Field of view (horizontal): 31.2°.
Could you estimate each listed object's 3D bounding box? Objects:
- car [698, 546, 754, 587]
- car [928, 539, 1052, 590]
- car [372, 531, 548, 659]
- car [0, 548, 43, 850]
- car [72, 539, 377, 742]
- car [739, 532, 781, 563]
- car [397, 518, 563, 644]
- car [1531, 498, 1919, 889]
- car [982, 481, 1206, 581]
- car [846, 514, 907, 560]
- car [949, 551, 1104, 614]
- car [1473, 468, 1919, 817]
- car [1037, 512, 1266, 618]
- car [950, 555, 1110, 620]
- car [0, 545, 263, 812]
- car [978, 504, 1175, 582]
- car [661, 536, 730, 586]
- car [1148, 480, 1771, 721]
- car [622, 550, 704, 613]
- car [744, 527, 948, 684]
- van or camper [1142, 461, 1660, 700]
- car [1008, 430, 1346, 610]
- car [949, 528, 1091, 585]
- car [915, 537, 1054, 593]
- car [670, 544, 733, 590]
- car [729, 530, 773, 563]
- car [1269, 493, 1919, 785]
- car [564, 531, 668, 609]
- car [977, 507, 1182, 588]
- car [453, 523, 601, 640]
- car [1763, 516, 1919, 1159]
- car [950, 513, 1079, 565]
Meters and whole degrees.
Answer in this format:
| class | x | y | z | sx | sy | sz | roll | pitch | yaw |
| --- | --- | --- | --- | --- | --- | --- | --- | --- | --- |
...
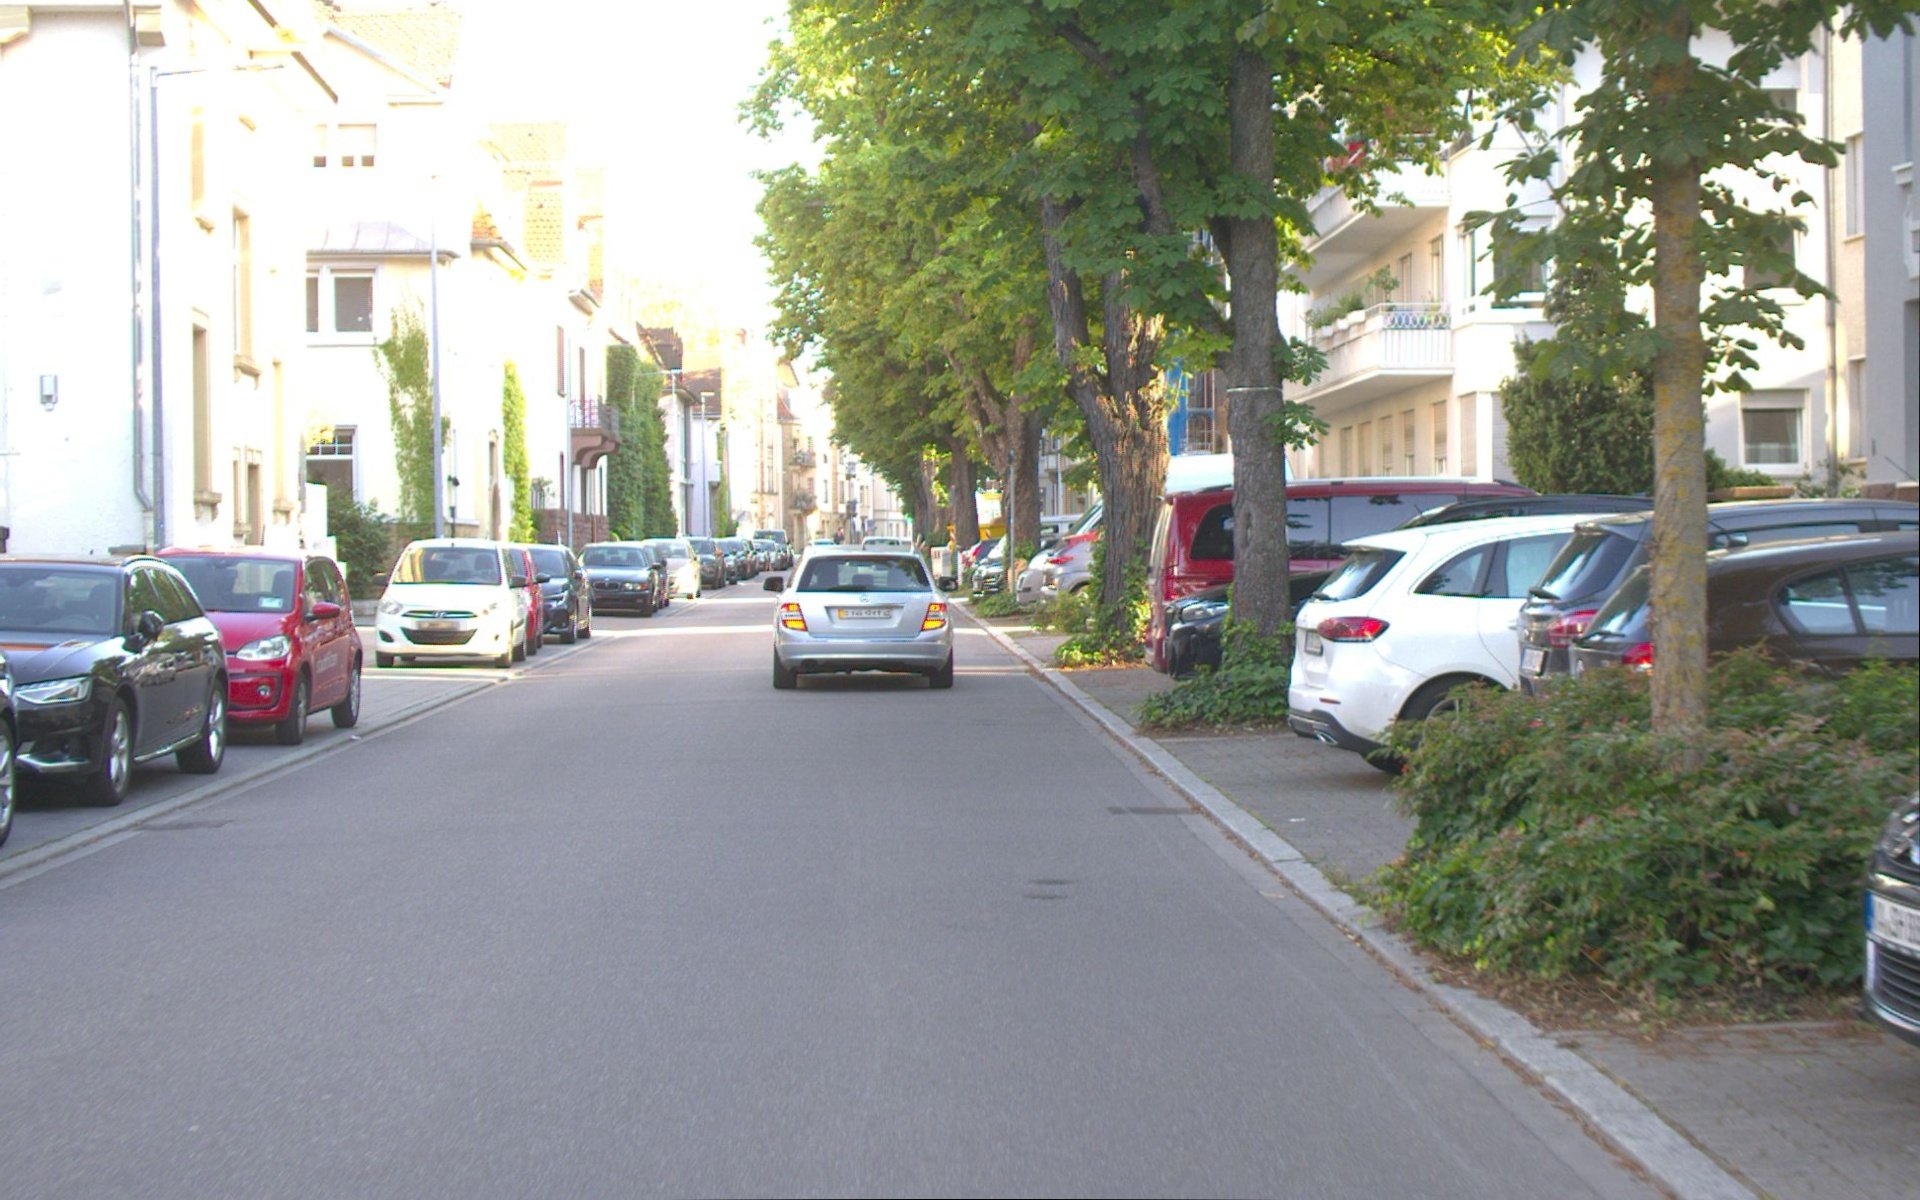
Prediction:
| class | x | y | z | sx | sy | sz | roll | pitch | yaw |
| --- | --- | --- | --- | --- | --- | --- | --- | --- | --- |
| car | -8.235 | -1.193 | 120.991 | 1.799 | 1.382 | 3.606 | 0 | 2 | -1 |
| car | 0.920 | -1.119 | 107.935 | 3.844 | 1.477 | 1.805 | -1 | 1 | 0 |
| car | -6.086 | -0.088 | 42.150 | 1.659 | 1.494 | 3.754 | 0 | 1 | -1 |
| car | -5.581 | 0.512 | 15.681 | 1.854 | 1.492 | 4.656 | 0 | 1 | -4 |
| car | -5.732 | 0.270 | 27.192 | 1.659 | 1.483 | 3.754 | 0 | 1 | -1 |
| car | -9.265 | -2.432 | 159.417 | 1.799 | 1.382 | 3.606 | 0 | 2 | -1 |
| car | -6.476 | -0.248 | 46.725 | 1.799 | 1.639 | 3.857 | 0 | 0 | -1 |
| car | 4.579 | 0.331 | 14.867 | 3.925 | 1.553 | 1.725 | -1 | 2 | 1 |
| car | 2.797 | -1.466 | 72.771 | 4.518 | 2.007 | 2.251 | -1 | 1 | -3 |
| car | -2.779 | -2.091 | 115.183 | 1.817 | 1.468 | 4.216 | -1 | 0 | 1 |
| car | 1.650 | -0.449 | 86.399 | 3.844 | 1.477 | 1.805 | -1 | 1 | 0 |
| car | 4.561 | 0.168 | 17.548 | 3.547 | 1.648 | 1.725 | -1 | 1 | -2 |
| car | 3.135 | -0.587 | 56.691 | 3.594 | 1.654 | 1.650 | -1 | 1 | -3 |
| car | 1.688 | -0.311 | 83.810 | 3.844 | 1.477 | 1.805 | -1 | 1 | 0 |
| car | -5.712 | 0.410 | 21.584 | 1.783 | 1.492 | 4.700 | 0 | 1 | -1 |
| car | 2.304 | -1.150 | 68.584 | 3.844 | 1.477 | 1.805 | -1 | 1 | 0 |
| car | -7.629 | -1.141 | 99.574 | 1.799 | 1.382 | 3.606 | 0 | 2 | -1 |
| car | 3.878 | -0.020 | 27.267 | 4.625 | 1.830 | 1.954 | 0 | 1 | -1 |
| car | -7.365 | -0.482 | 85.622 | 1.799 | 1.477 | 3.857 | 0 | 2 | -1 |
| car | -1.093 | 0.039 | 34.776 | 1.817 | 1.468 | 4.216 | -1 | 0 | 1 |
| van or camper | 3.771 | -0.186 | 30.024 | 4.313 | 2.007 | 2.000 | 0 | 1 | 2 |
| car | 3.718 | -1.402 | 59.744 | 5.541 | 2.958 | 2.472 | -1 | 1 | -3 |
| car | 1.633 | -1.196 | 94.340 | 3.844 | 1.477 | 1.805 | -1 | 1 | 0 |
| car | 0.679 | -0.985 | 96.856 | 3.844 | 1.477 | 1.805 | -1 | 1 | 0 |
| car | -8.186 | -1.049 | 109.184 | 1.799 | 1.382 | 3.606 | 0 | 2 | -1 |
| car | -9.156 | -2.366 | 151.028 | 1.799 | 1.382 | 3.606 | 0 | 2 | -1 |
| car | 3.789 | 0.195 | 20.102 | 3.730 | 1.553 | 1.725 | -1 | 1 | -2 |
| car | -6.911 | -0.629 | 69.346 | 1.799 | 1.477 | 3.857 | 0 | 2 | -1 |
| car | 2.280 | -1.024 | 66.313 | 3.844 | 1.477 | 1.805 | -1 | 1 | 0 |
| car | -6.422 | -0.307 | 51.311 | 1.799 | 1.638 | 3.857 | 0 | 2 | -1 |
| car | 4.382 | 0.519 | 8.715 | 4.190 | 1.553 | 1.874 | -1 | 1 | -2 |
| car | 1.635 | -1.855 | 103.867 | 3.844 | 1.477 | 1.805 | -1 | 1 | 0 |
